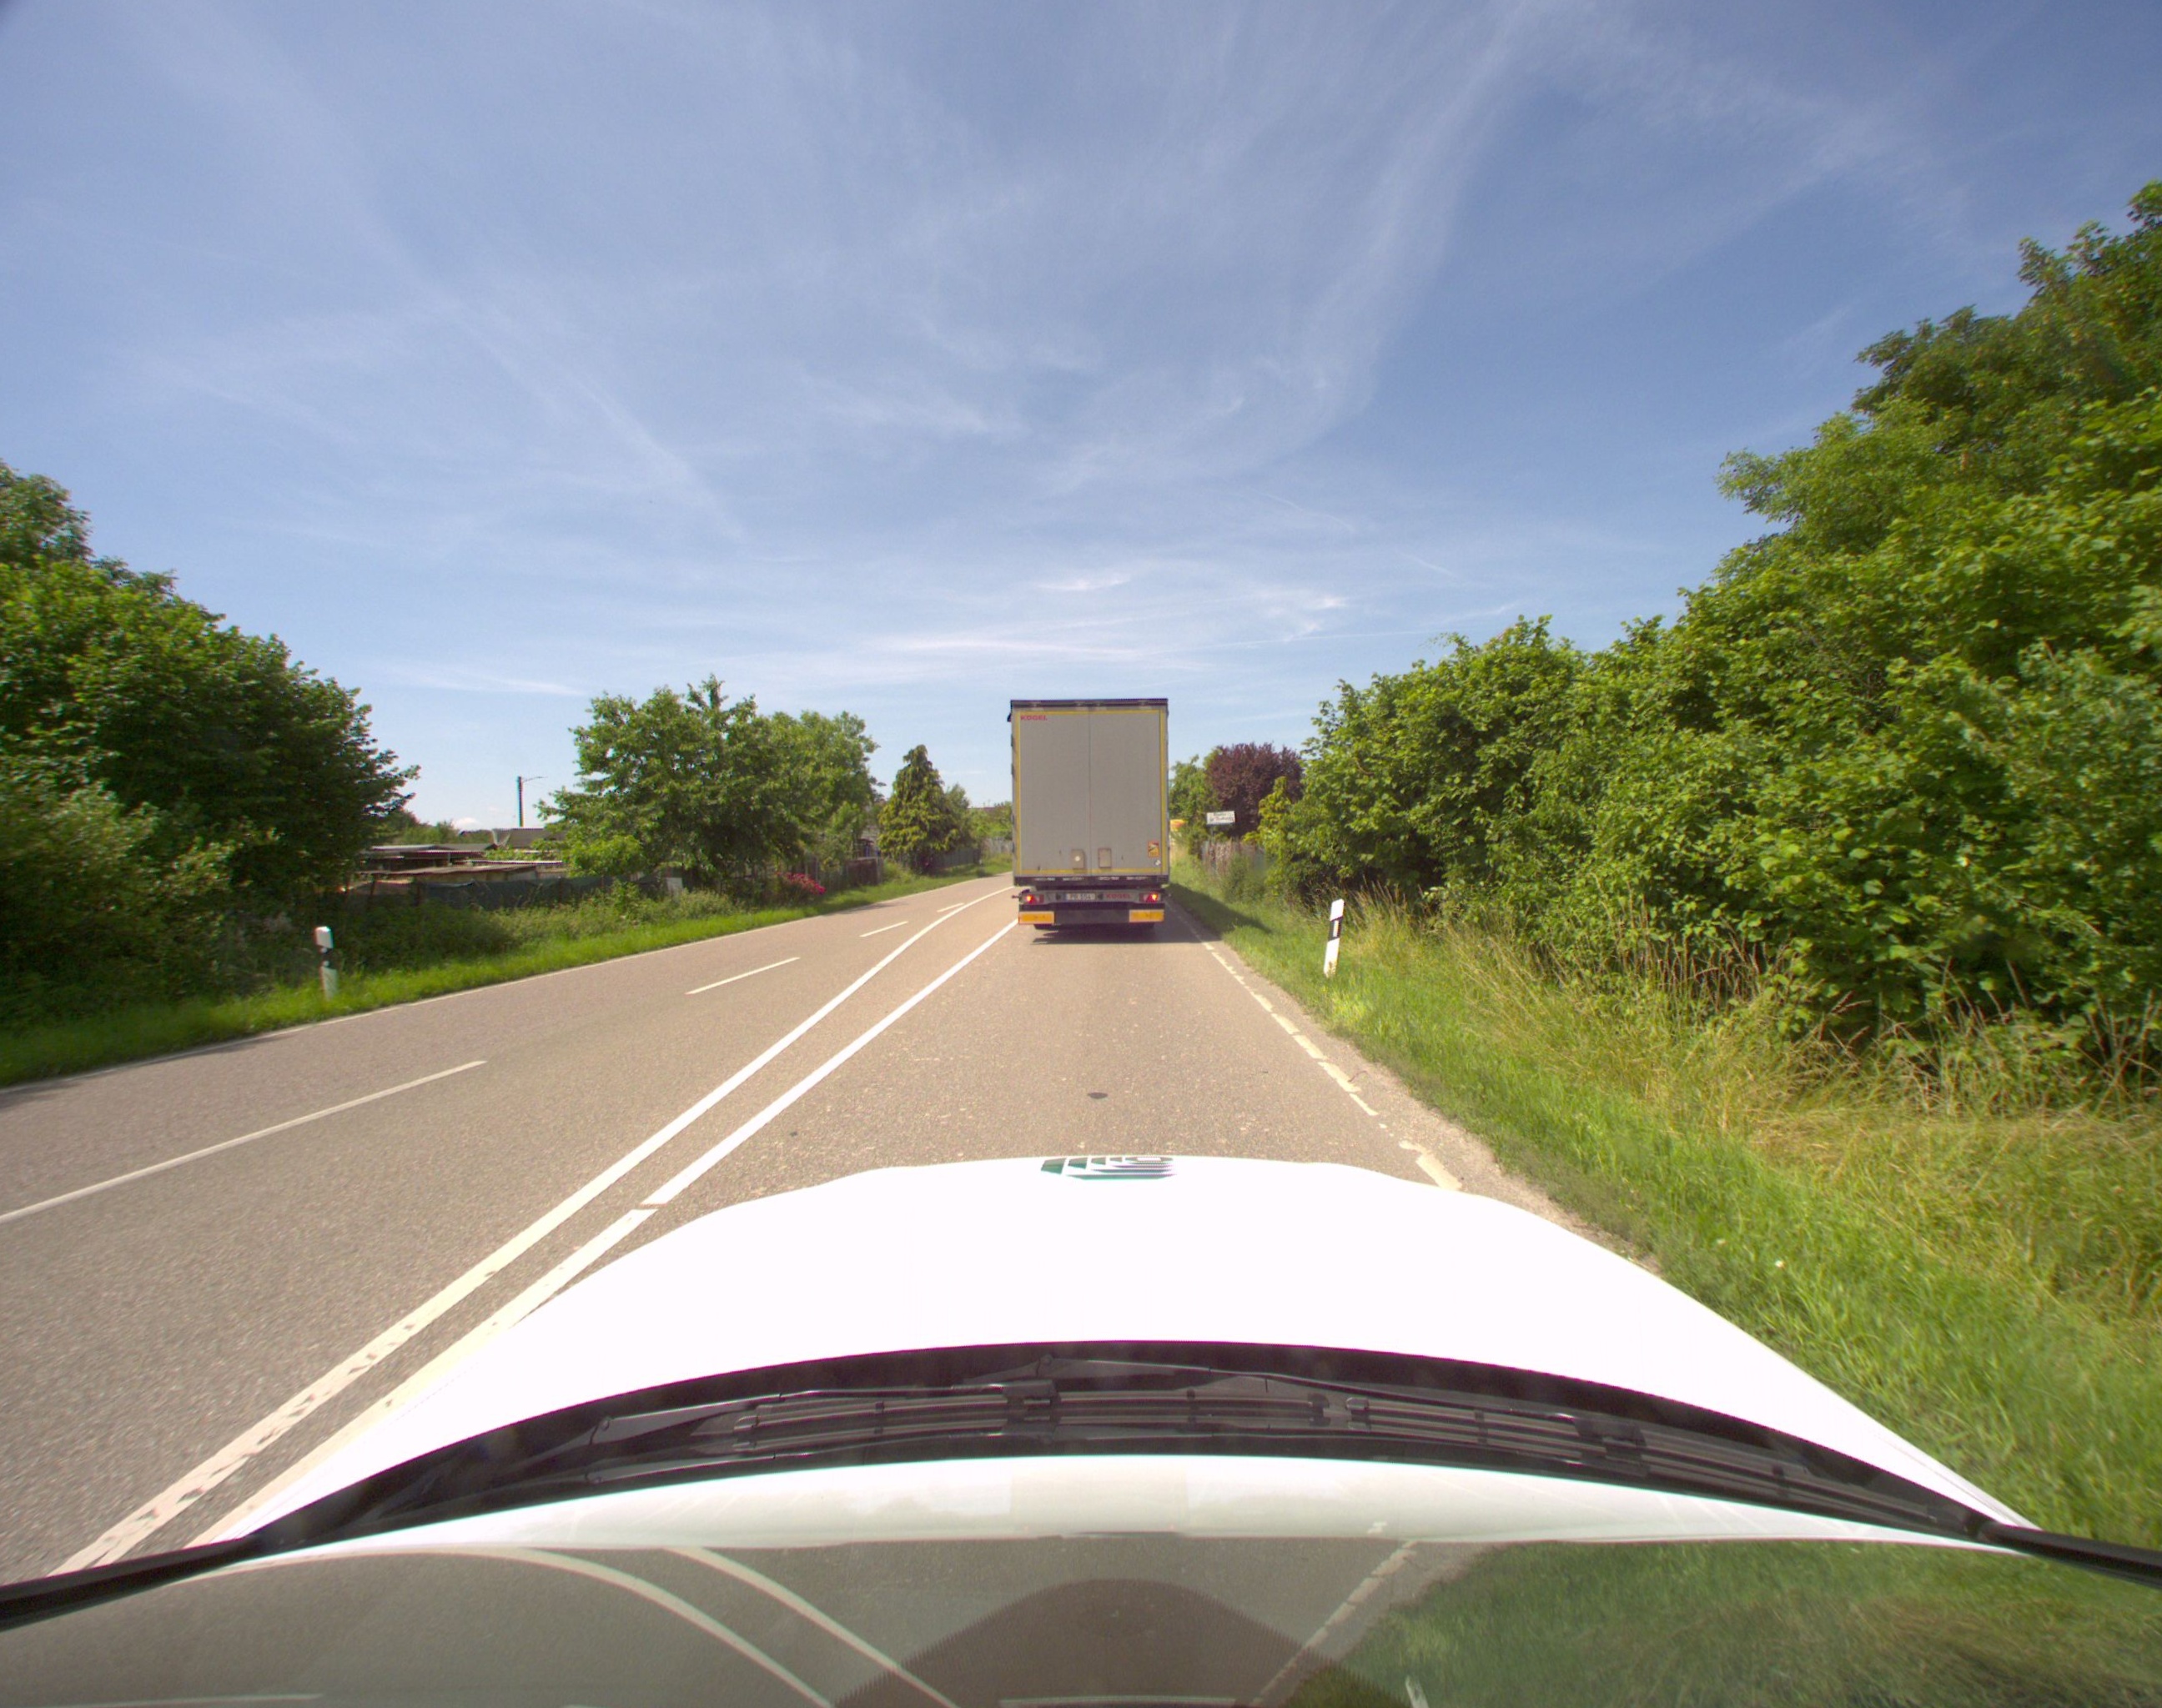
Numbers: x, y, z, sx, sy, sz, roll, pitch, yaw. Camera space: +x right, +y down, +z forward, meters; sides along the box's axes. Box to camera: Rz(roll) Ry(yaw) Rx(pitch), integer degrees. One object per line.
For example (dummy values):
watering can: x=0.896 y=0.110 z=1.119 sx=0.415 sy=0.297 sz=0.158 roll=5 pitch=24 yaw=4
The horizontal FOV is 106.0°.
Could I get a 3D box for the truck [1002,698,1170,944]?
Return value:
truck: x=0.130 y=-0.565 z=17.460 sx=2.638 sy=3.917 sz=8.826 roll=-1 pitch=0 yaw=1
